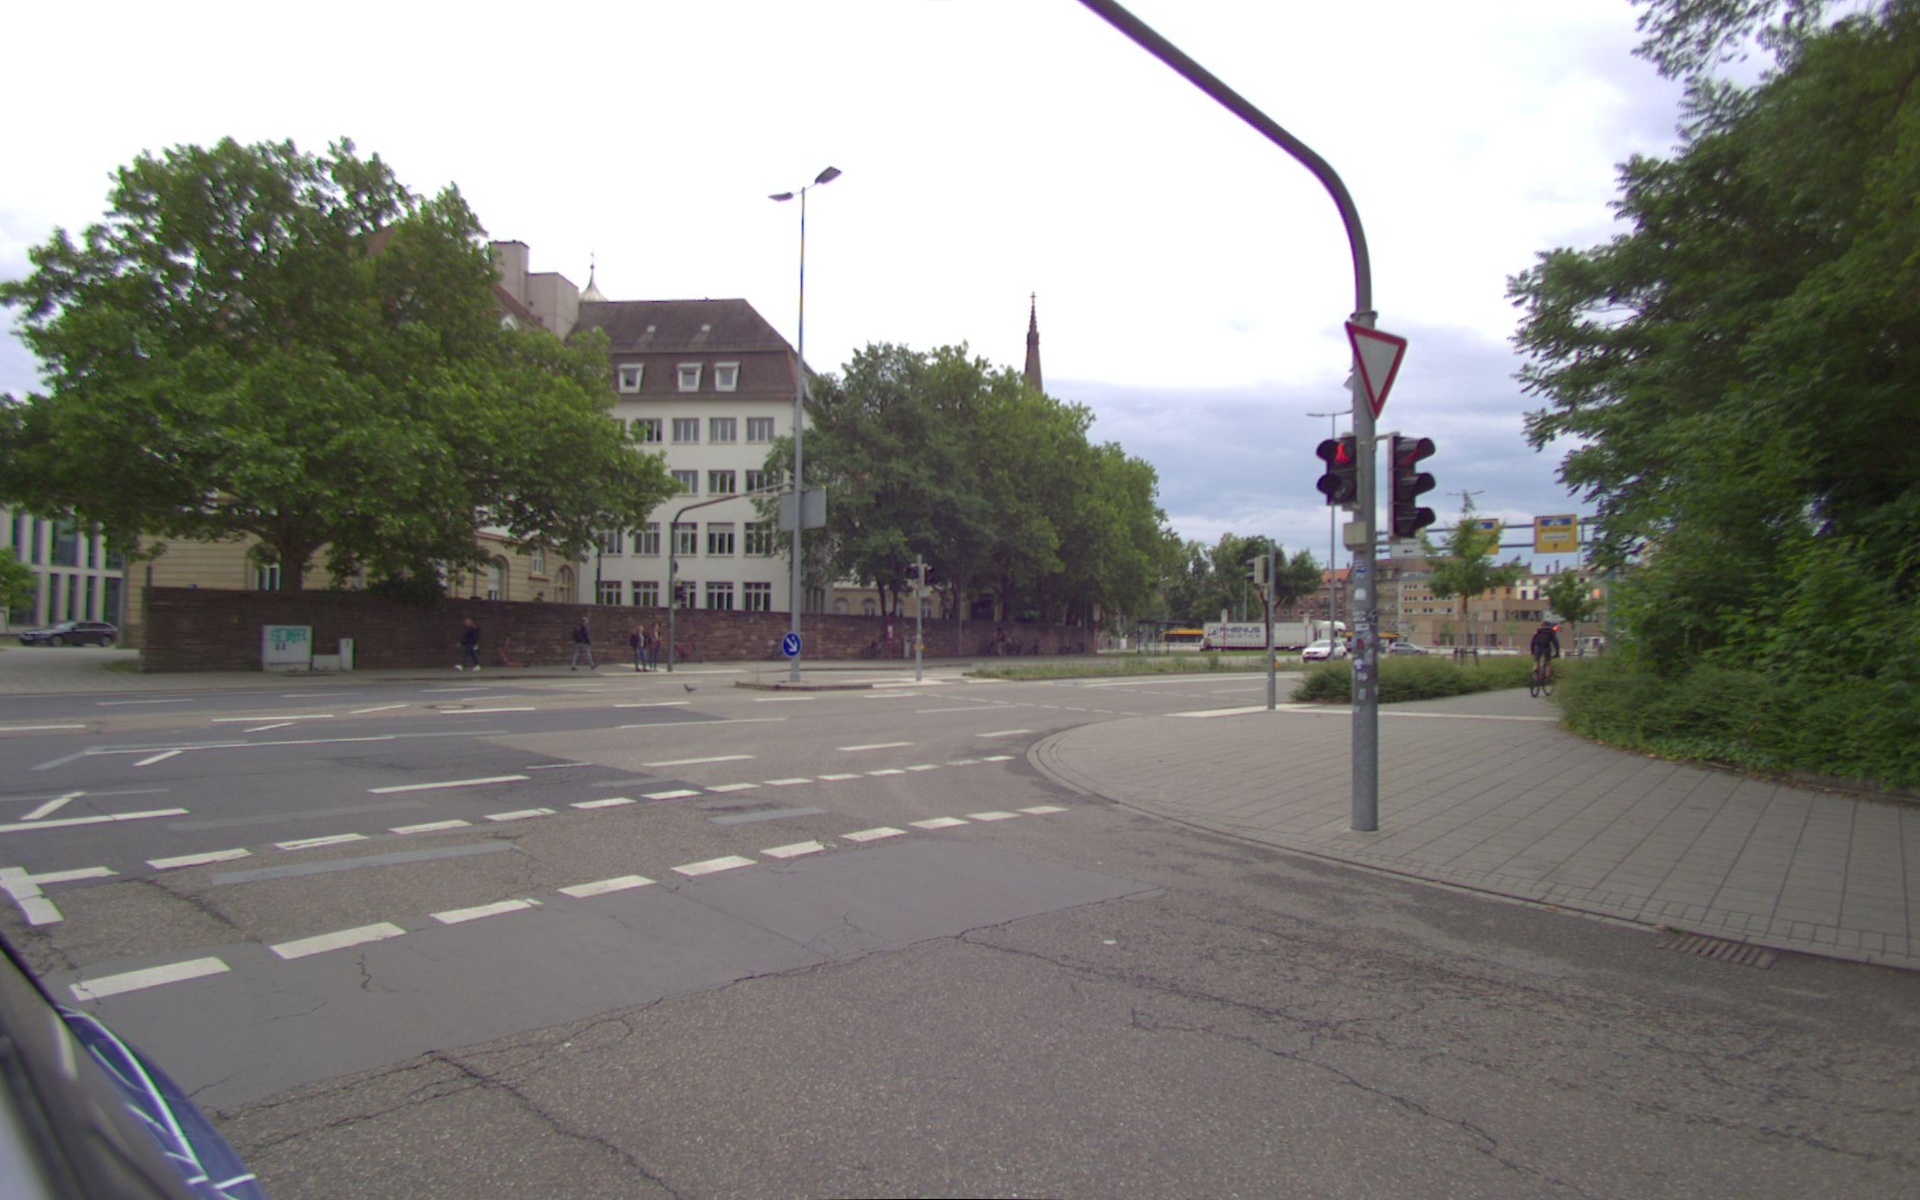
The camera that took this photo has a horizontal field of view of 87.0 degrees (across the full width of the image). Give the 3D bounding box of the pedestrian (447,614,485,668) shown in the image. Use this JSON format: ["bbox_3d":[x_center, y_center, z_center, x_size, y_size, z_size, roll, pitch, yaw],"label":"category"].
[{"bbox_3d":[-16.122,1.332,33.029,0.790,1.677,0.798,1,-1,39],"label":"pedestrian"}]

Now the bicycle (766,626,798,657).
[{"bbox_3d":[-8.219,1.932,46.828,0.662,1.391,2.578,0,-2,9],"label":"bicycle"}]

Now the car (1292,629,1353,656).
[{"bbox_3d":[25.076,2.924,69.826,2.047,1.710,5.298,-5,-4,42],"label":"car"}]

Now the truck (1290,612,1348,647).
[{"bbox_3d":[40.785,3.367,114.994,5.445,3.852,2.807,-2,-2,39],"label":"truck"}]

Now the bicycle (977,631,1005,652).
[{"bbox_3d":[1.975,2.593,63.157,0.662,1.275,2.518,1,-2,28],"label":"bicycle"}]

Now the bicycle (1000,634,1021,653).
[{"bbox_3d":[3.340,2.864,66.734,0.505,1.157,2.228,1,-2,26],"label":"bicycle"}]

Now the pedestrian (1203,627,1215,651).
[{"bbox_3d":[18.108,2.818,73.569,0.642,1.719,0.699,-2,-4,39],"label":"pedestrian"}]

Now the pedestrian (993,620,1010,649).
[{"bbox_3d":[2.572,2.137,62.797,0.787,1.773,0.766,0,-3,27],"label":"pedestrian"}]

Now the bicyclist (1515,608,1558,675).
[{"bbox_3d":[14.267,1.024,25.052,0.766,1.620,0.911,-2,-3,39],"label":"bicyclist"}]

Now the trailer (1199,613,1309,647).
[{"bbox_3d":[34.695,3.582,119.921,12.360,3.852,2.808,-2,-2,39],"label":"trailer"}]

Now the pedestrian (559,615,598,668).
[{"bbox_3d":[-13.403,1.444,35.530,0.757,1.802,0.994,0,-2,38],"label":"pedestrian"}]

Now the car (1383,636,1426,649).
[{"bbox_3d":[49.798,4.793,113.437,3.995,1.386,1.974,-1,-3,39],"label":"car"}]

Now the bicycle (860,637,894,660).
[{"bbox_3d":[-4.256,2.510,52.252,0.662,1.157,2.135,1,-2,28],"label":"bicycle"}]

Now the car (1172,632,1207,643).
[{"bbox_3d":[29.690,4.820,131.155,3.995,1.386,1.974,-1,-3,39],"label":"car"}]

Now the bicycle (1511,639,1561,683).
[{"bbox_3d":[14.282,1.499,25.069,0.782,1.045,1.840,-1,-3,39],"label":"bicycle"}]

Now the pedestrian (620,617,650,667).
[{"bbox_3d":[-11.630,1.512,36.233,0.734,1.752,0.662,0,-2,36],"label":"pedestrian"}]

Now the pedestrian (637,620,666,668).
[{"bbox_3d":[-11.213,1.592,36.797,0.778,1.706,0.634,0,-2,38],"label":"pedestrian"}]

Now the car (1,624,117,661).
[{"bbox_3d":[-48.386,2.239,54.465,1.976,1.593,4.395,-10,-2,5],"label":"car"}]

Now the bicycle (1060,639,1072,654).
[{"bbox_3d":[8.252,3.610,78.629,0.504,1.157,2.234,1,-2,18],"label":"bicycle"}]

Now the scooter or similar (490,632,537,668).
[{"bbox_3d":[-15.529,1.743,35.196,1.389,1.239,0.496,3,-1,-32],"label":"scooter or similar"}]

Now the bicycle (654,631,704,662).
[{"bbox_3d":[-11.341,1.867,40.950,0.581,1.194,2.133,1,-2,30],"label":"bicycle"}]
